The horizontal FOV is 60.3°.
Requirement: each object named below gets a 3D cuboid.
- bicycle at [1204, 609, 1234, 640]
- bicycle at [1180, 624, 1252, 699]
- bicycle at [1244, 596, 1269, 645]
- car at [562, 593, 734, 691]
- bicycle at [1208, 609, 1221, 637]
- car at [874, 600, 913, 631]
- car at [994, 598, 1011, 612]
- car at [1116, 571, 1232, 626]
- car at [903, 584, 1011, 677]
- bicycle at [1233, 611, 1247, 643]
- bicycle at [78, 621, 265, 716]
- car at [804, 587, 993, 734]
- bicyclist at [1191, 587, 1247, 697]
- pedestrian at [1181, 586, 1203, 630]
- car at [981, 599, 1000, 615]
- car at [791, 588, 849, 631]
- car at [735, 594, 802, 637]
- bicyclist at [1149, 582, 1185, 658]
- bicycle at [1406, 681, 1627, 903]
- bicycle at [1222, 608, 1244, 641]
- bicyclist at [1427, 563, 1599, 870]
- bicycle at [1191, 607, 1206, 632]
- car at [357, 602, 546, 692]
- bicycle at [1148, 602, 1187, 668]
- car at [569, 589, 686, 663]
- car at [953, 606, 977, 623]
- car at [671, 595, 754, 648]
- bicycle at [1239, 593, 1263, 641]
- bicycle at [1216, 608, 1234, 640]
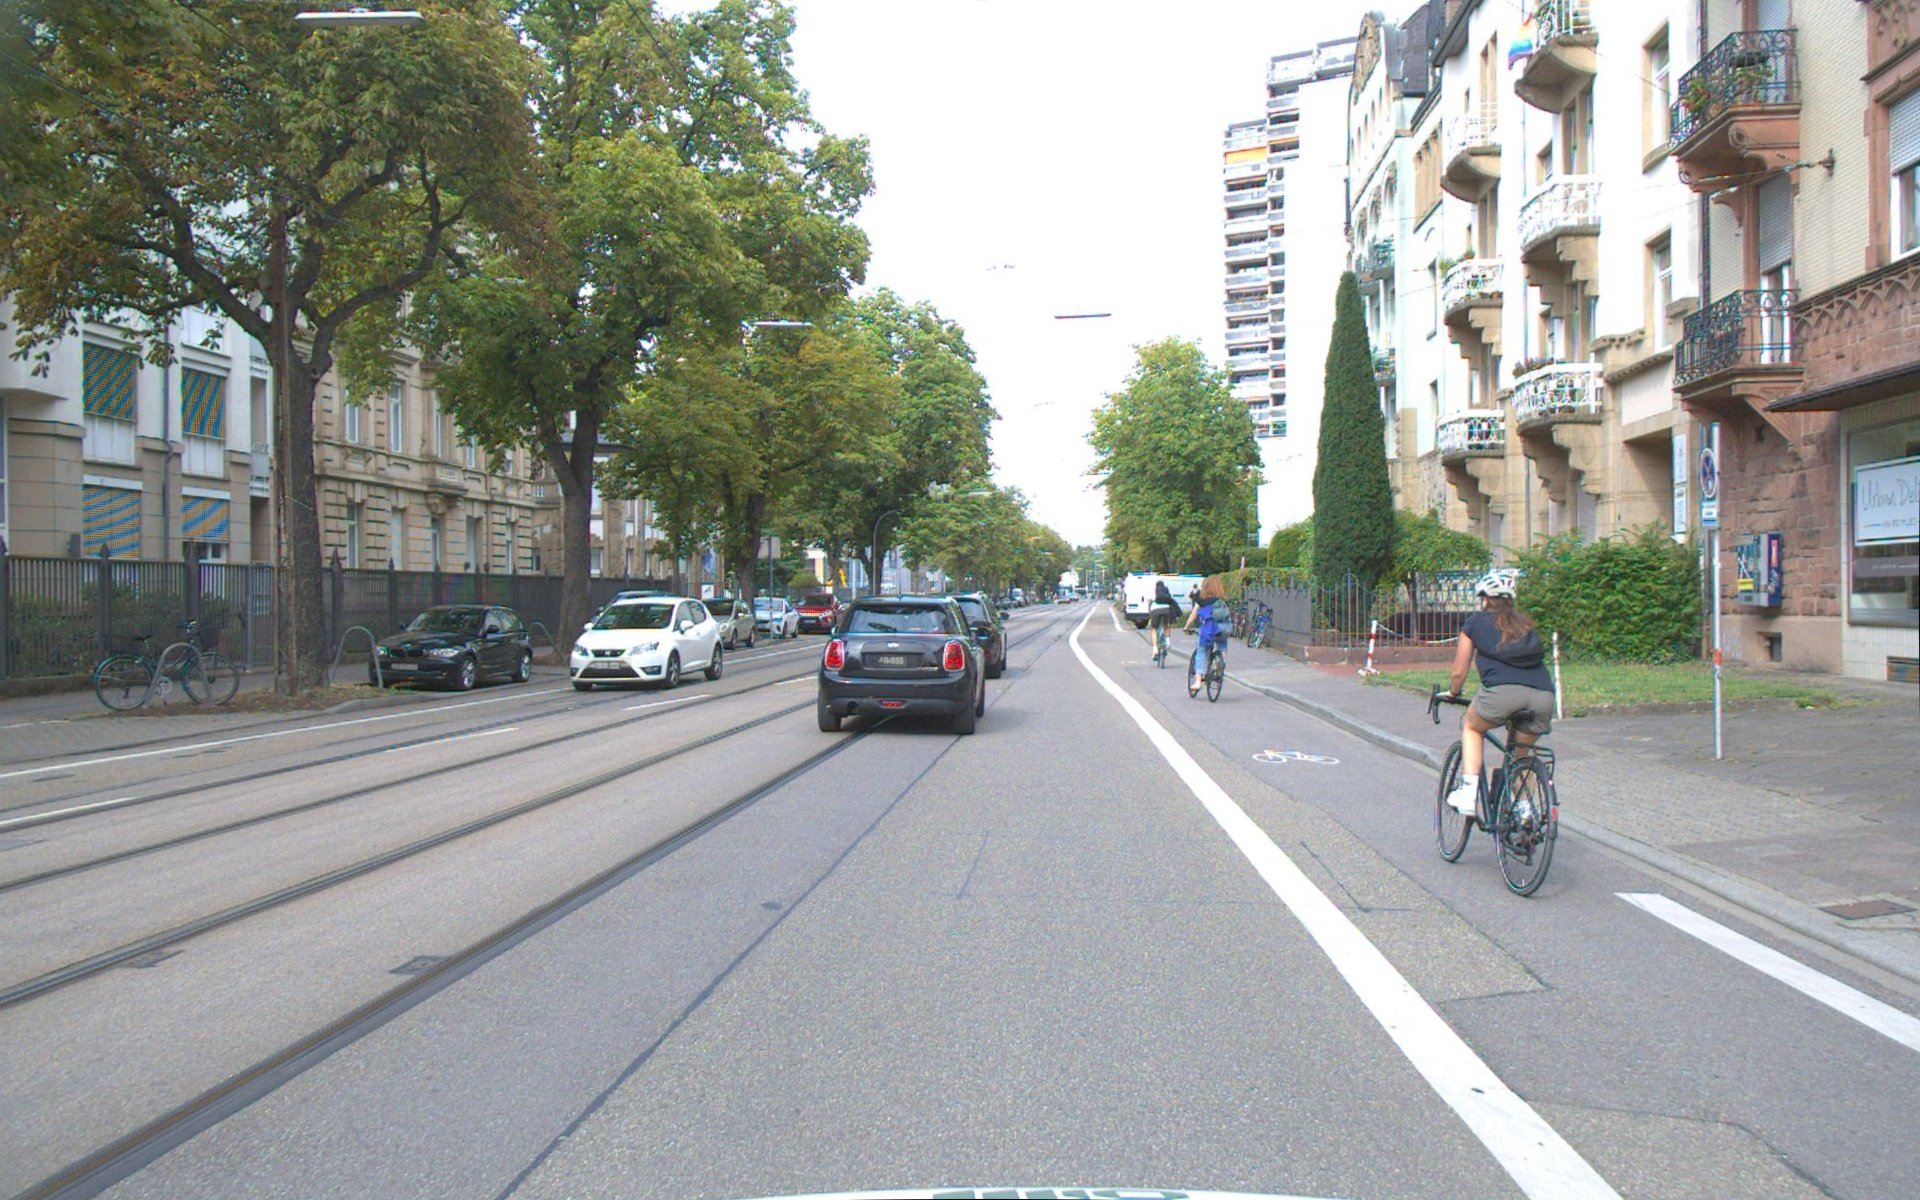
[{"bbox_3d":[8.058,0.760,51.427,0.476,0.923,1.662,-1,-1,-6],"label":"bicycle"},{"bbox_3d":[3.595,0.844,23.350,0.674,0.979,2.036,1,0,-1],"label":"bicycle"},{"bbox_3d":[6.997,0.469,39.026,0.383,1.122,1.760,-2,0,5],"label":"bicycle"},{"bbox_3d":[-5.100,0.644,27.557,1.537,1.441,4.003,-3,0,8],"label":"car"},{"bbox_3d":[8.589,0.761,55.832,0.378,0.923,1.666,-2,-1,9],"label":"bicycle"},{"bbox_3d":[-3.651,0.827,91.603,1.719,1.676,4.054,0,0,4],"label":"car"},{"bbox_3d":[4.947,0.571,192.667,1.764,1.611,4.033,-2,-1,4],"label":"car"},{"bbox_3d":[9.403,-0.027,72.490,4.908,2.330,2.352,0,-1,-38],"label":"car"},{"bbox_3d":[0.013,0.513,29.599,1.756,1.496,4.001,1,0,2],"label":"car"},{"bbox_3d":[7.761,0.742,45.920,0.272,0.867,1.198,-2,-1,5],"label":"bicycle"},{"bbox_3d":[-10.515,0.887,22.094,2.203,1.196,0.828,0,0,-28],"label":"bicycle"},{"bbox_3d":[-0.580,0.616,18.750,1.756,1.448,4.001,1,0,3],"label":"car"},{"bbox_3d":[3.589,0.567,22.967,0.634,1.496,0.800,-1,0,-1],"label":"bicyclist"},{"bbox_3d":[9.507,0.339,67.712,0.768,1.763,0.896,-3,0,4],"label":"pedestrian"},{"bbox_3d":[3.205,0.711,173.537,1.764,1.611,4.033,-2,-1,4],"label":"car"},{"bbox_3d":[-5.764,0.399,68.625,1.685,1.684,4.544,2,0,4],"label":"car"},{"bbox_3d":[-6.891,0.557,59.857,1.685,1.448,4.025,2,0,4],"label":"car"},{"bbox_3d":[4.143,0.398,33.211,0.643,1.489,1.179,0,0,4],"label":"bicyclist"},{"bbox_3d":[3.049,1.005,9.263,0.625,0.998,2.072,0,0,3],"label":"bicycle"},{"bbox_3d":[7.879,0.716,47.730,0.475,0.923,1.666,-2,-1,5],"label":"bicycle"},{"bbox_3d":[3.048,0.609,9.206,0.625,1.597,1.111,0,0,3],"label":"bicyclist"},{"bbox_3d":[9.248,0.761,64.070,0.378,0.923,1.842,-2,-1,3],"label":"bicycle"},{"bbox_3d":[-9.051,0.786,29.790,1.683,1.449,4.169,2,0,7],"label":"car"},{"bbox_3d":[4.142,0.684,33.170,0.643,1.271,2.126,0,0,4],"label":"bicycle"},{"bbox_3d":[-8.074,0.601,40.513,1.674,1.703,4.359,0,0,4],"label":"car"},{"bbox_3d":[0.488,1.235,143.488,1.764,1.398,4.033,-2,0,4],"label":"car"},{"bbox_3d":[-7.259,0.612,48.845,1.567,1.494,4.081,0,0,4],"label":"car"},{"bbox_3d":[7.326,0.417,41.724,0.383,1.162,1.922,-2,0,5],"label":"bicycle"},{"bbox_3d":[7.936,0.712,49.518,0.475,0.923,1.666,-2,-1,8],"label":"bicycle"}]
